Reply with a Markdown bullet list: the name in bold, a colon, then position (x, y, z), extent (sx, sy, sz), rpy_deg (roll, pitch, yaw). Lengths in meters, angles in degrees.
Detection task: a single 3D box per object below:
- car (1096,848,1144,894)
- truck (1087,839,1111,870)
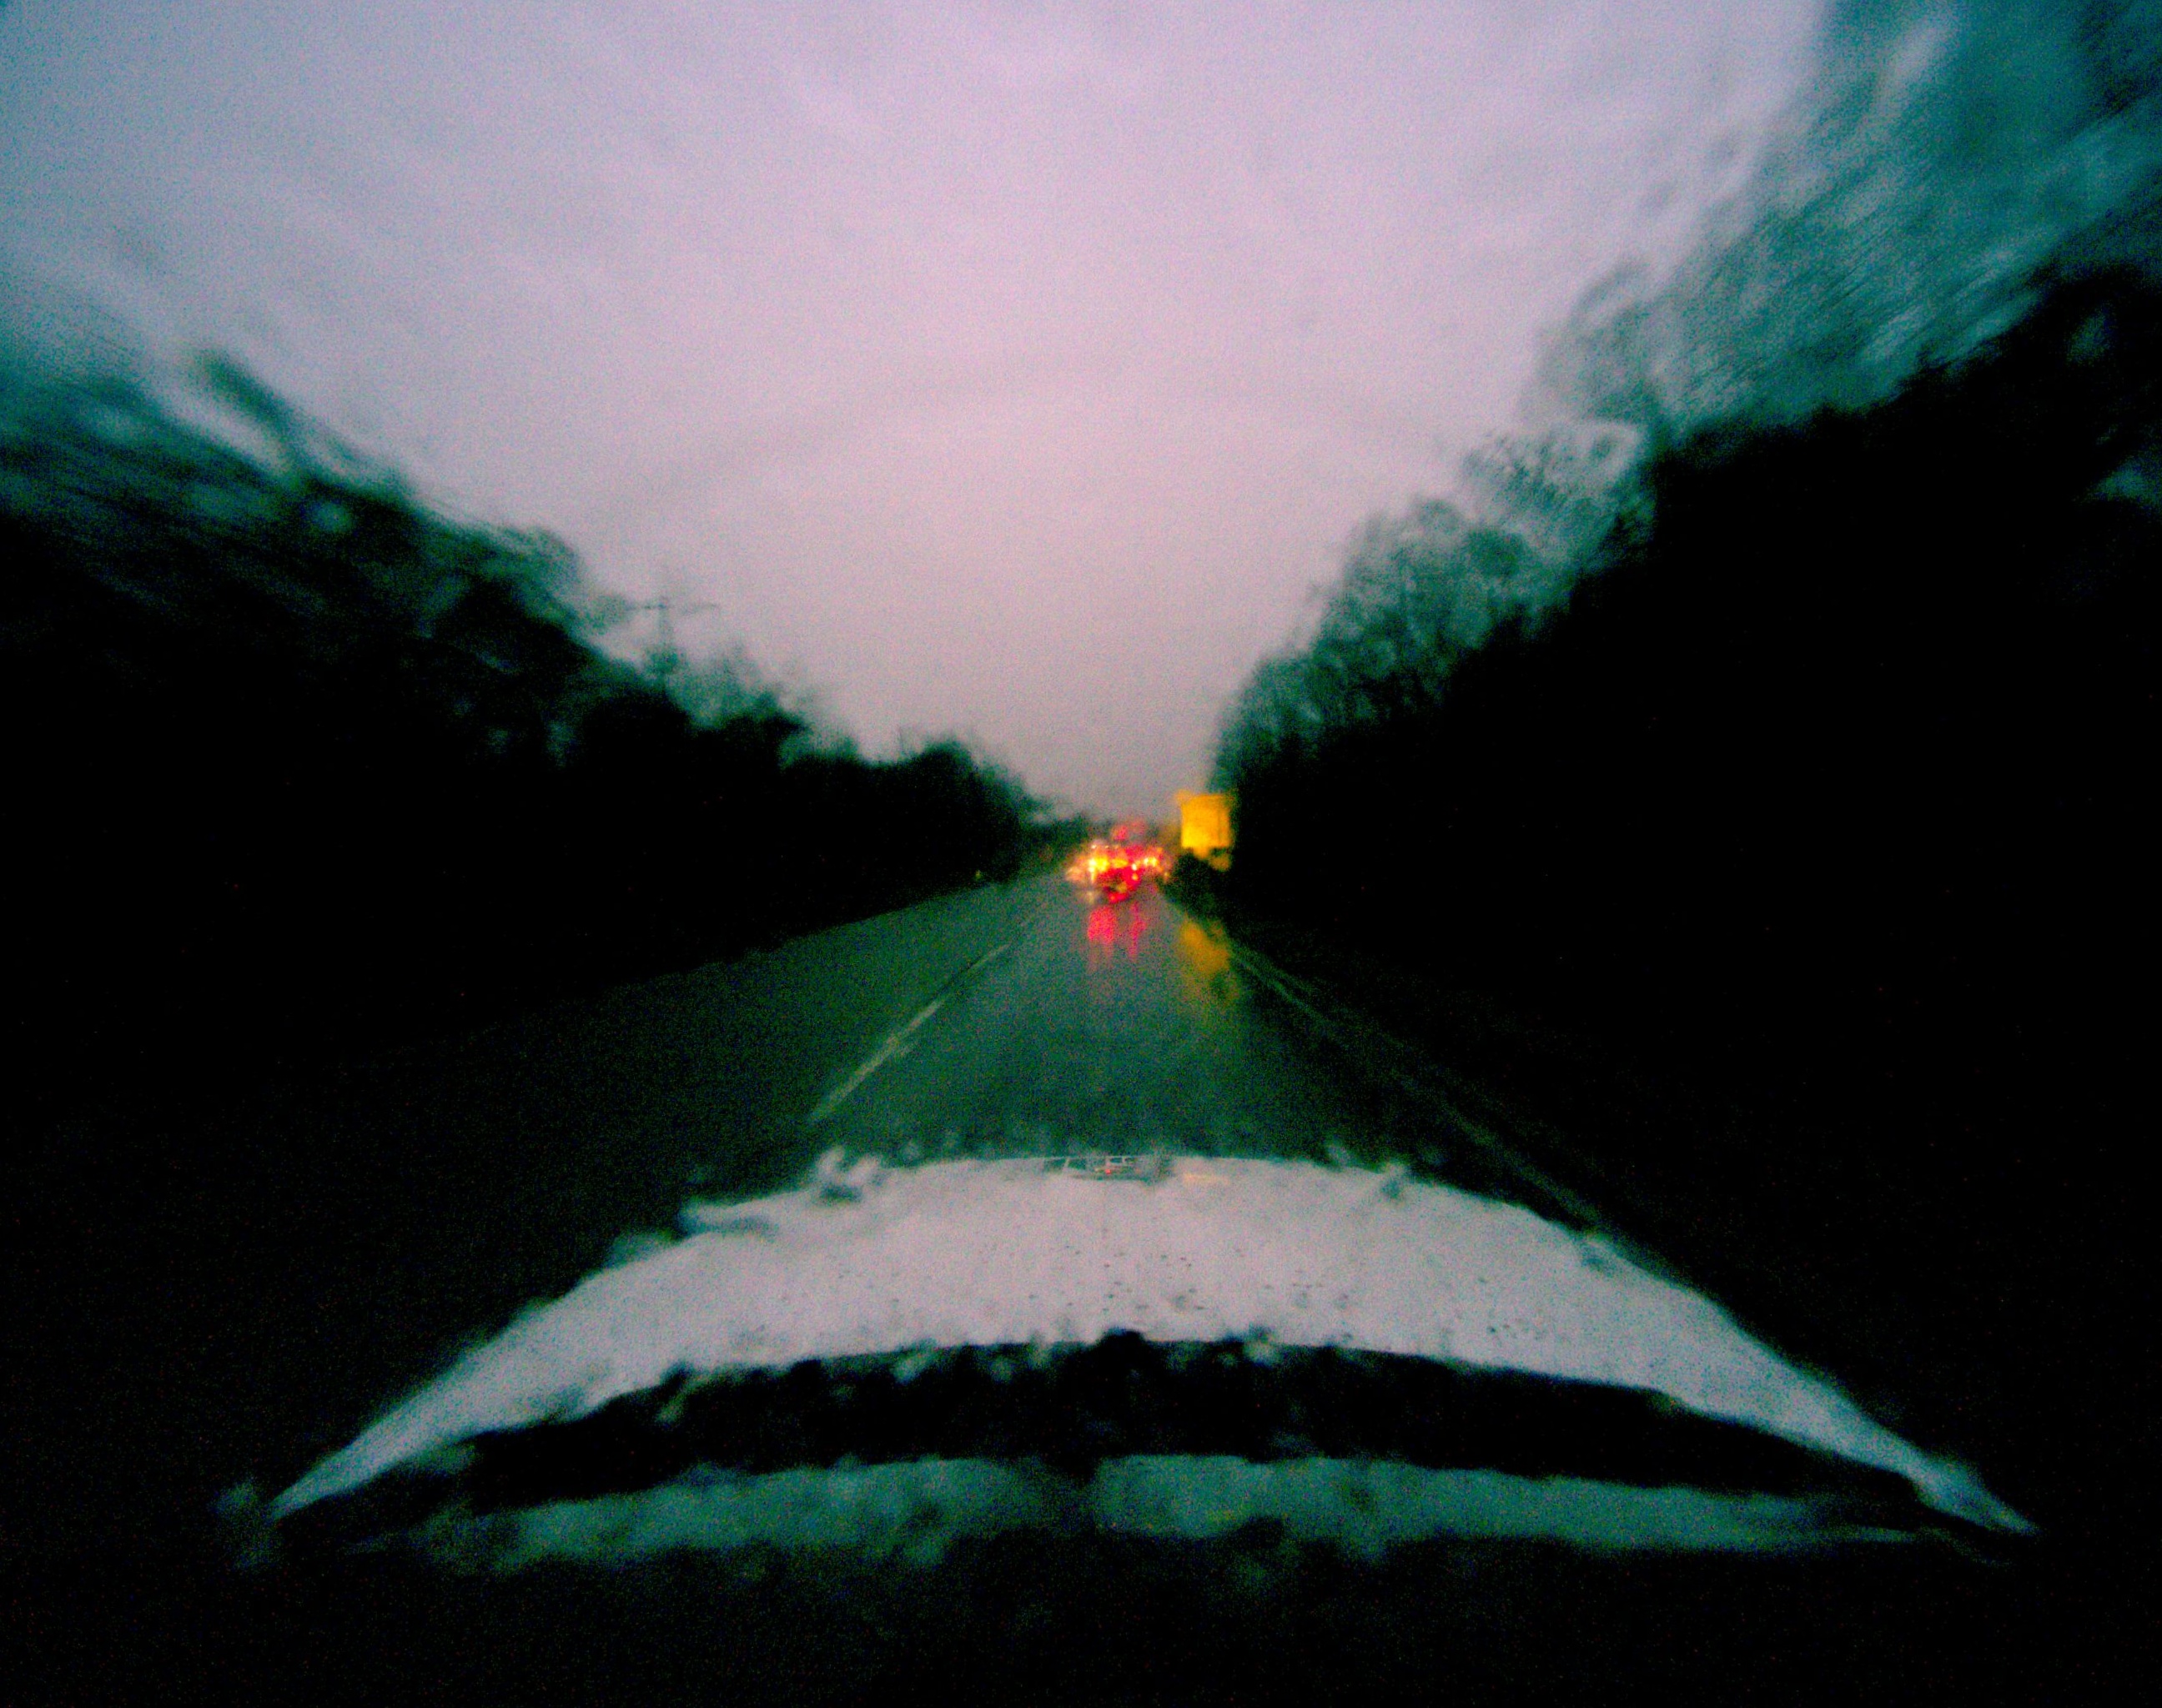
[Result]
- **car**: position (1.481, 0.614, 31.621), extent (1.721, 1.643, 4.002), rpy_deg (-1, 0, 2)
- **truck**: position (2.518, 0.087, 113.165), extent (2.786, 4.126, 7.209), rpy_deg (-1, 0, 5)
